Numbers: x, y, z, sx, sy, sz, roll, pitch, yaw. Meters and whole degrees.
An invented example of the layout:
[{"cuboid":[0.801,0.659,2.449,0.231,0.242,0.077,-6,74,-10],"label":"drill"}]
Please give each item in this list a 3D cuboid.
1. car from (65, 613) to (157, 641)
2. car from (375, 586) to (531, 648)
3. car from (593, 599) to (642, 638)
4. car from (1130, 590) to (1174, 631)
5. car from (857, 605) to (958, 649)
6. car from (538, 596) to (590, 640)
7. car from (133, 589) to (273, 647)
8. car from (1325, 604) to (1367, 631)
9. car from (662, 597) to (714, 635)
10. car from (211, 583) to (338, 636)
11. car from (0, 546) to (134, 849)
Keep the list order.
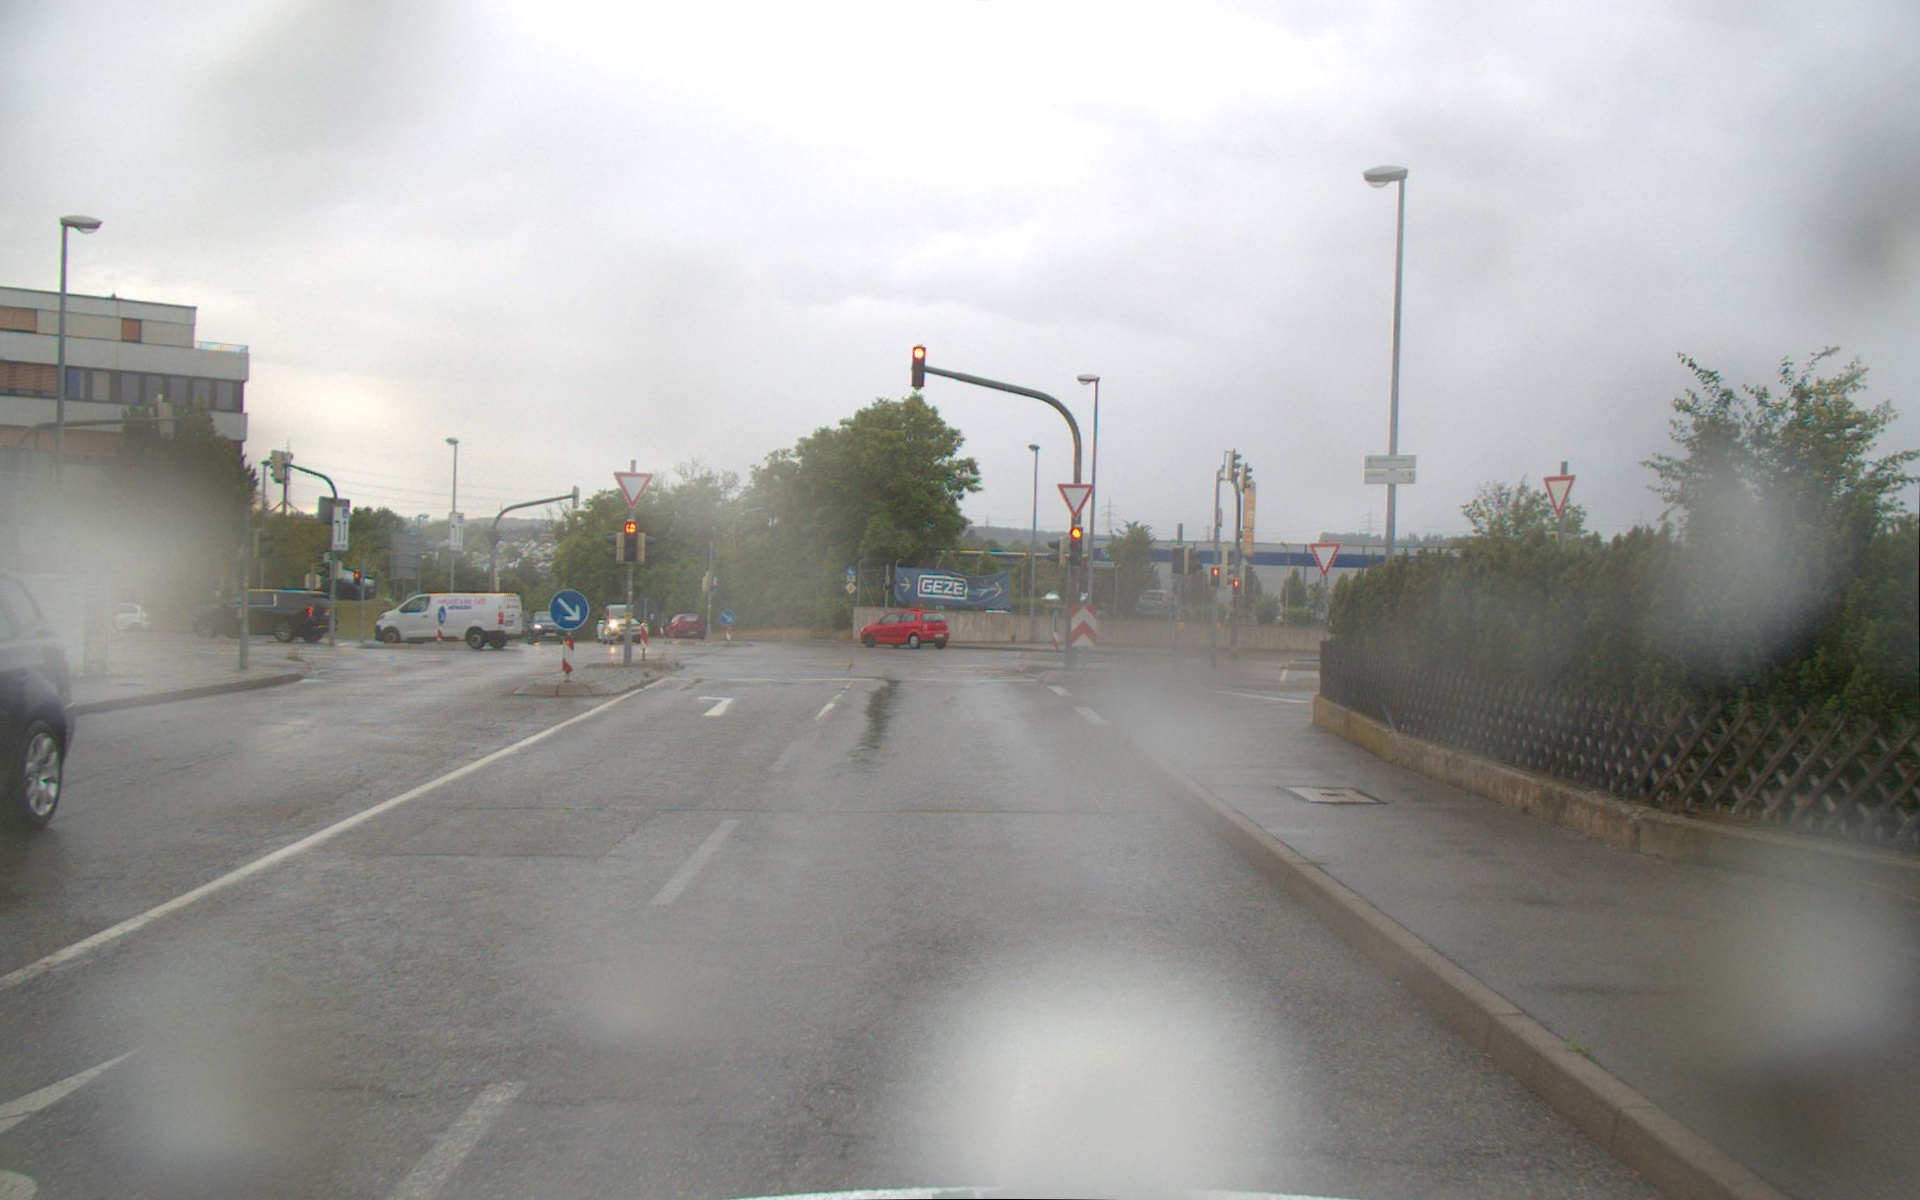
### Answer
[{"cuboid":[-36.531,1.177,71.200,3.464,1.125,1.804,1,0,-28],"label":"car"},{"cuboid":[-18.006,0.586,58.789,4.889,2.049,2.002,1,0,10],"label":"car"},{"cuboid":[-15.759,0.827,75.980,1.960,1.646,3.985,2,0,-15],"label":"car"},{"cuboid":[10.065,0.536,86.435,1.951,2.049,4.003,1,0,11],"label":"car"},{"cuboid":[-2.042,1.027,63.645,3.737,1.474,1.611,3,1,40],"label":"car"},{"cuboid":[-18.426,0.855,76.852,1.963,1.928,3.979,2,-2,-18],"label":"car"},{"cuboid":[-26.308,0.610,57.497,4.053,1.873,2.001,1,0,15],"label":"car"},{"cuboid":[22.707,1.050,97.144,1.952,1.504,4.001,1,0,20],"label":"car"},{"cuboid":[-15.180,0.893,92.134,1.966,1.940,3.974,2,0,-22],"label":"car"},{"cuboid":[-25.817,0.341,62.321,3.902,1.847,2.002,2,0,11],"label":"car"},{"cuboid":[-6.287,0.524,8.791,1.955,1.697,4.410,1,0,-7],"label":"car"}]
